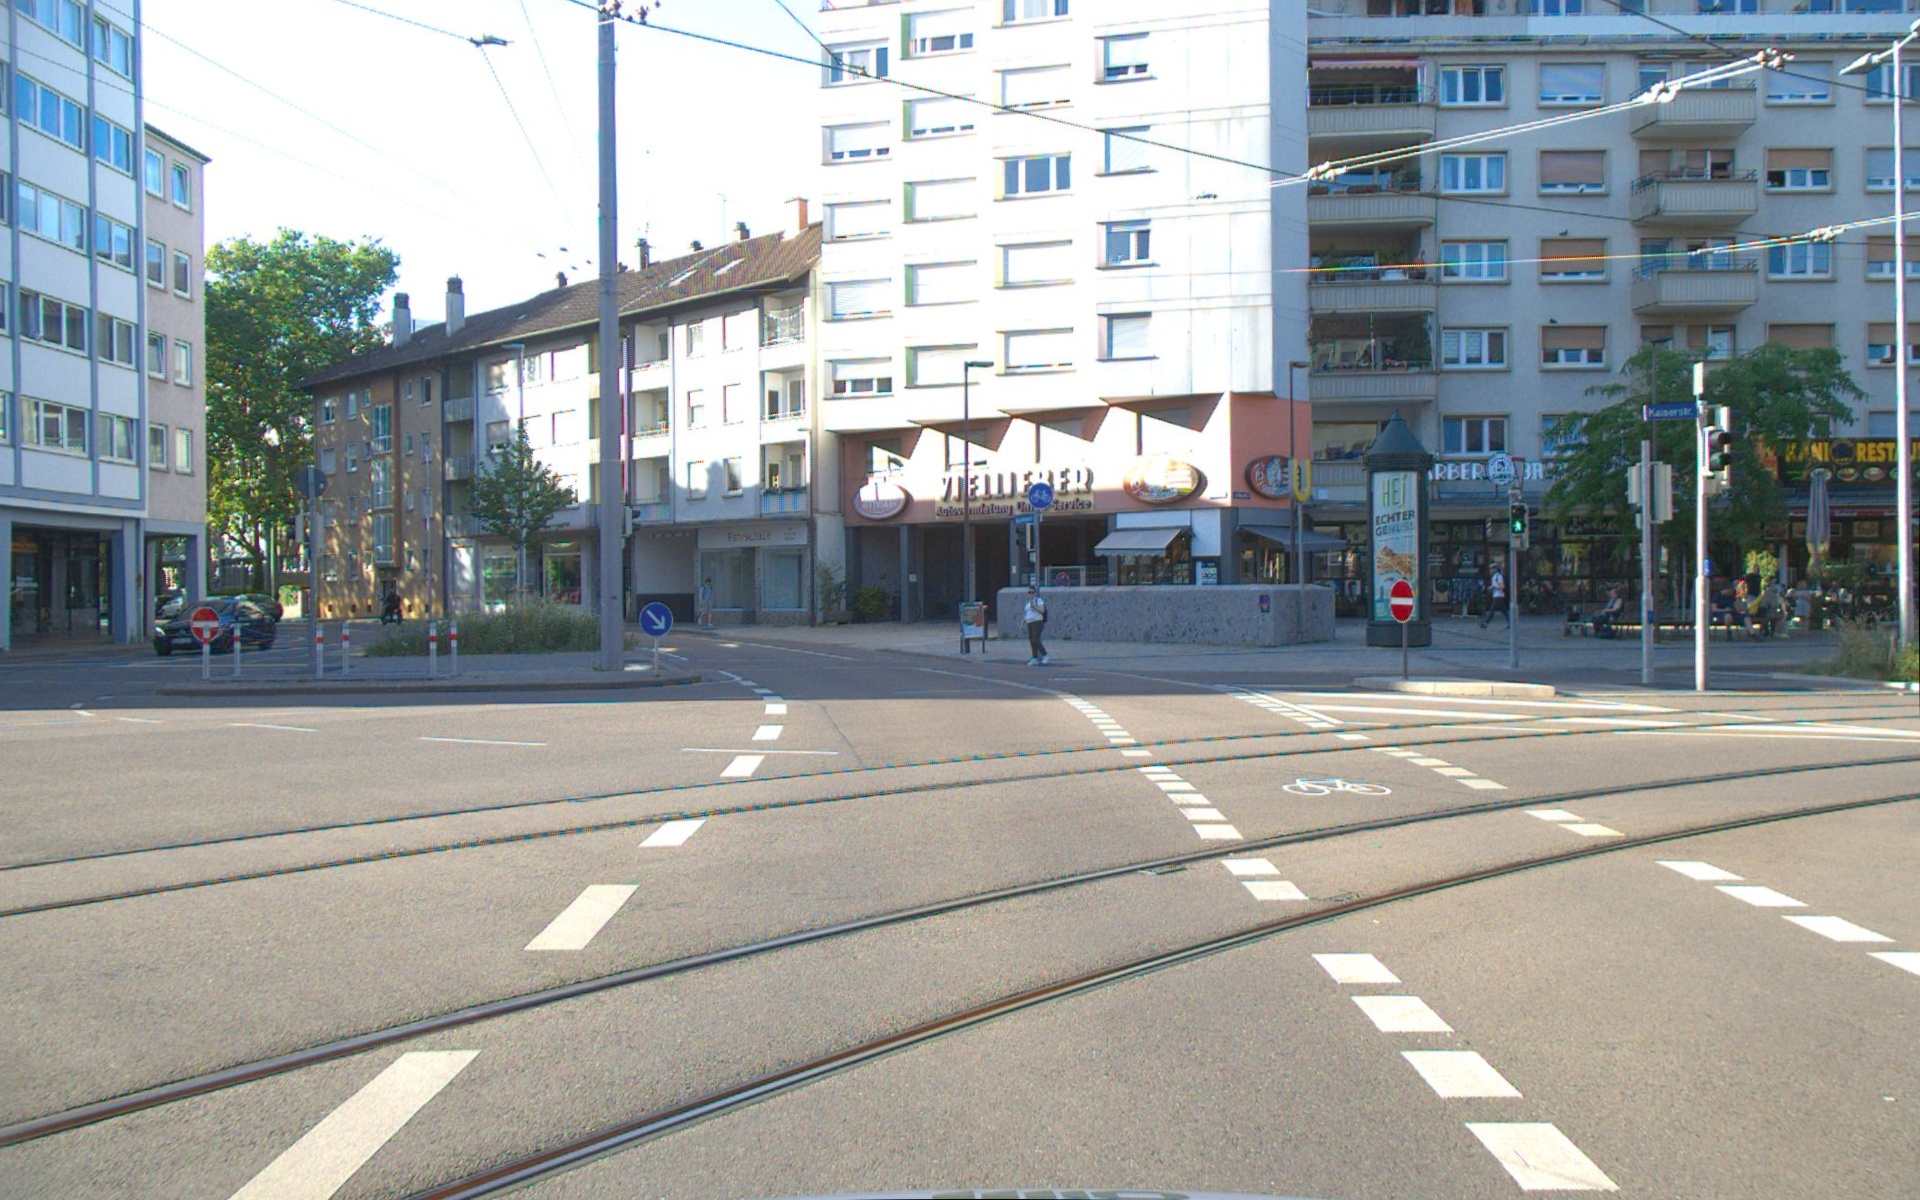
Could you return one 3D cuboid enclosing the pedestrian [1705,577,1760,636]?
[{"bbox_3d":[18.516,0.147,39.674,0.705,1.388,1.106,-1,1,-8],"label":"pedestrian"}]

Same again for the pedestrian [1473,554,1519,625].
[{"bbox_3d":[14.603,-0.288,45.106,1.020,1.899,0.688,-1,0,2],"label":"pedestrian"}]

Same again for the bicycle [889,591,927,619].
[{"bbox_3d":[-1.989,0.191,63.021,0.492,1.056,1.611,-1,0,-44],"label":"bicycle"}]

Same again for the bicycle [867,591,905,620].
[{"bbox_3d":[-2.806,0.203,62.721,0.492,1.056,1.611,-1,0,-44],"label":"bicycle"}]

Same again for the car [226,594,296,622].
[{"bbox_3d":[-36.369,0.397,86.035,3.929,1.413,1.918,0,1,42],"label":"car"}]

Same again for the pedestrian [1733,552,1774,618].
[{"bbox_3d":[21.395,-0.401,44.603,0.668,1.776,0.716,-1,0,-10],"label":"pedestrian"}]

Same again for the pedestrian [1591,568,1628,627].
[{"bbox_3d":[16.311,-0.070,41.518,0.705,1.445,0.927,0,1,32],"label":"pedestrian"}]

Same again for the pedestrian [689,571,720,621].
[{"bbox_3d":[-9.947,-0.140,64.410,0.932,1.886,0.728,-1,2,45],"label":"pedestrian"}]

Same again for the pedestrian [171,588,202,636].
[{"bbox_3d":[-28.176,0.434,60.245,0.762,1.754,0.803,0,0,42],"label":"pedestrian"}]

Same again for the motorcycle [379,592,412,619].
[{"bbox_3d":[-24.666,0.244,72.288,0.956,1.151,2.797,1,0,-11],"label":"motorcycle"}]

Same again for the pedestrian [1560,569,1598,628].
[{"bbox_3d":[15.875,-0.050,42.406,0.706,1.471,0.926,0,1,36],"label":"pedestrian"}]

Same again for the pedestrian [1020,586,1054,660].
[{"bbox_3d":[1.715,0.505,36.858,0.536,1.611,0.548,-1,0,-43],"label":"pedestrian"}]

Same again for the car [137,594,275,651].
[{"bbox_3d":[-20.193,0.581,44.497,1.796,1.410,4.593,-1,0,-3],"label":"car"}]

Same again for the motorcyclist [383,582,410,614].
[{"bbox_3d":[-24.678,-0.097,72.402,0.953,1.370,1.135,1,0,-11],"label":"motorcyclist"}]
